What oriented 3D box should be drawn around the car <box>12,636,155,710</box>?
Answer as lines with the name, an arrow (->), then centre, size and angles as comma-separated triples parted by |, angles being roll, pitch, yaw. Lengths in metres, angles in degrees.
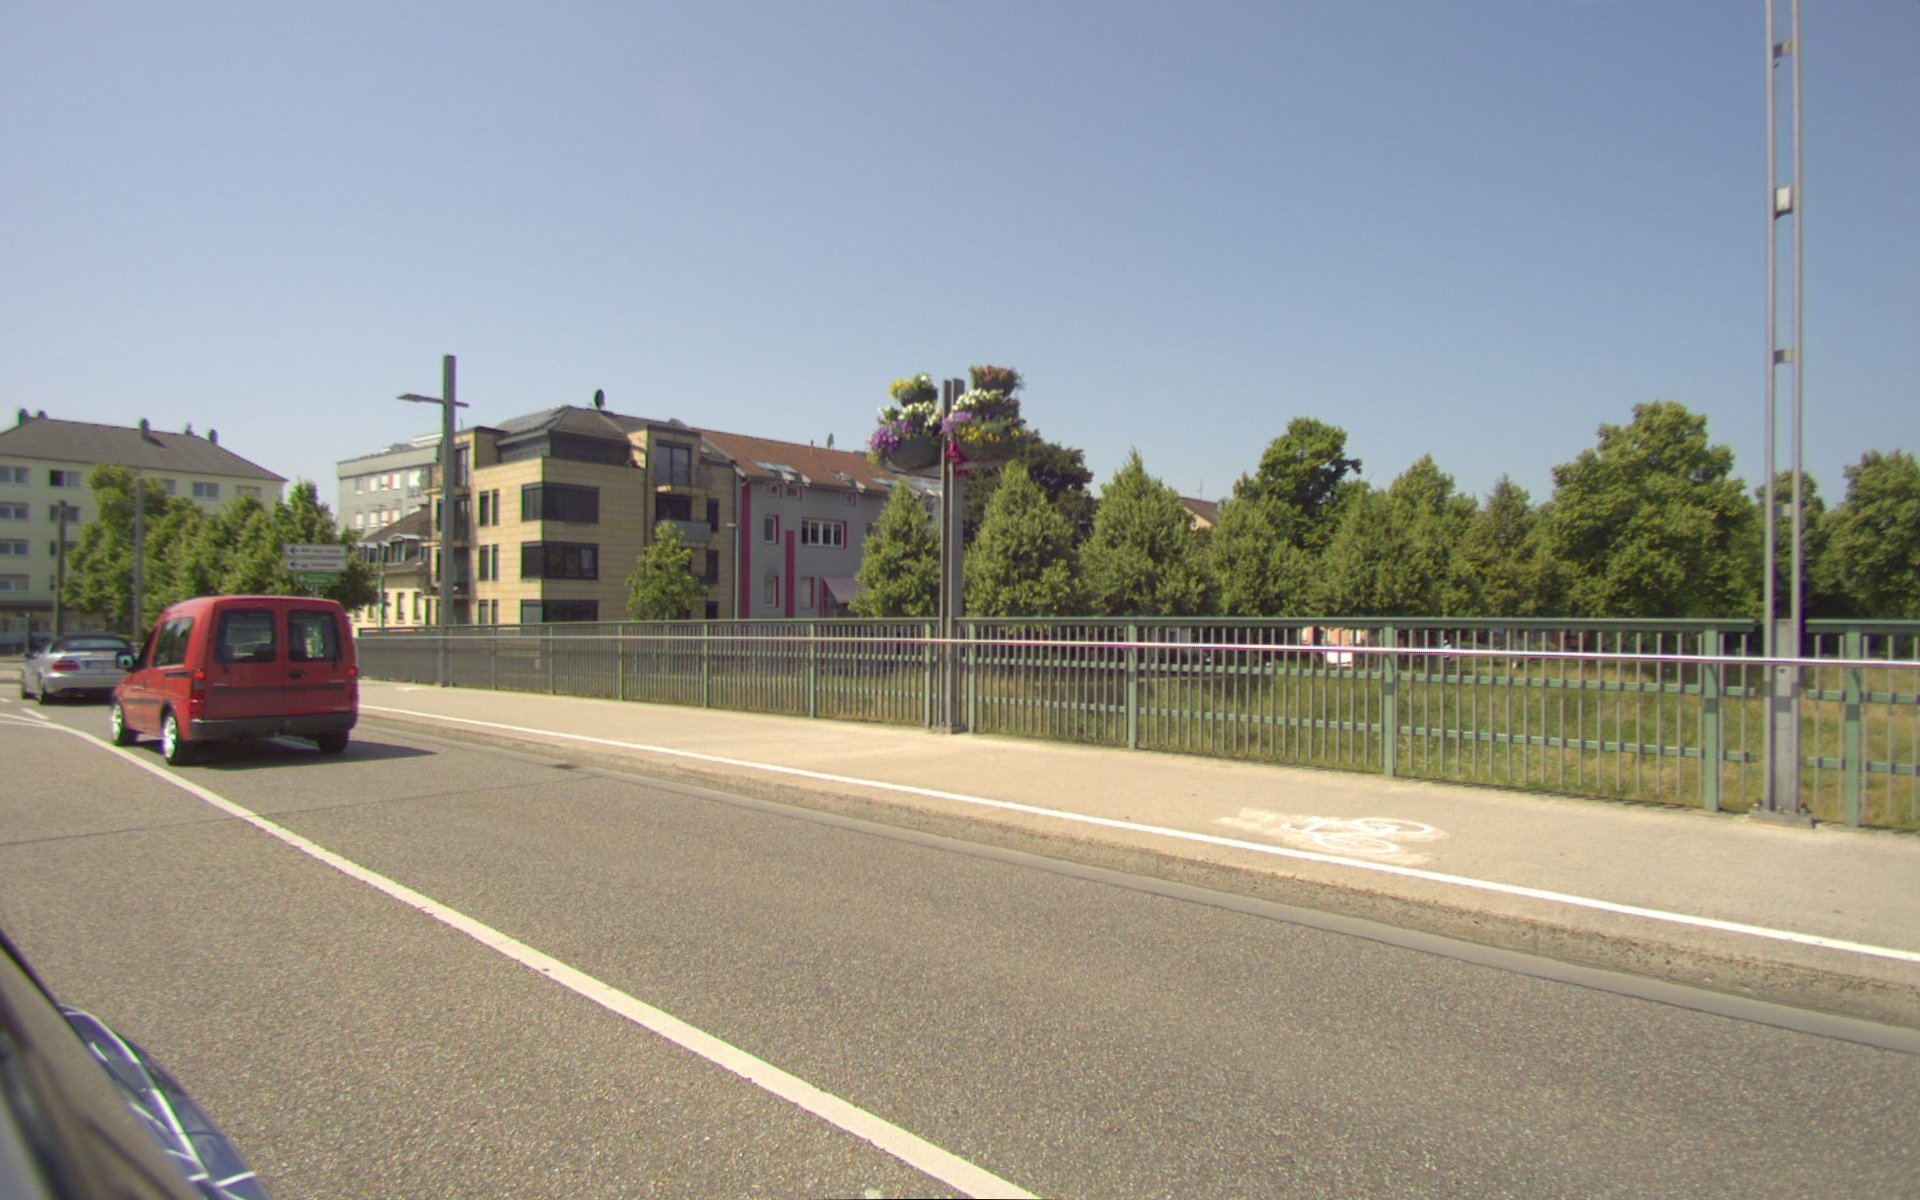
car -> -18.270, 1.468, 21.037 | 4.455, 1.369, 1.680 | -2, -4, 42

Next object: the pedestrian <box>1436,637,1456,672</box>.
pedestrian -> 28.791, 3.205, 59.950 | 0.882, 2.029, 0.716 | 0, 1, 39

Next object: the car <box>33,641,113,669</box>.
car -> -60.445, 3.754, 69.013 | 1.888, 1.748, 3.656 | 0, -3, 32

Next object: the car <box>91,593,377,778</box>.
car -> -8.577, 0.847, 11.823 | 4.173, 1.790, 1.718 | 0, -2, 40
